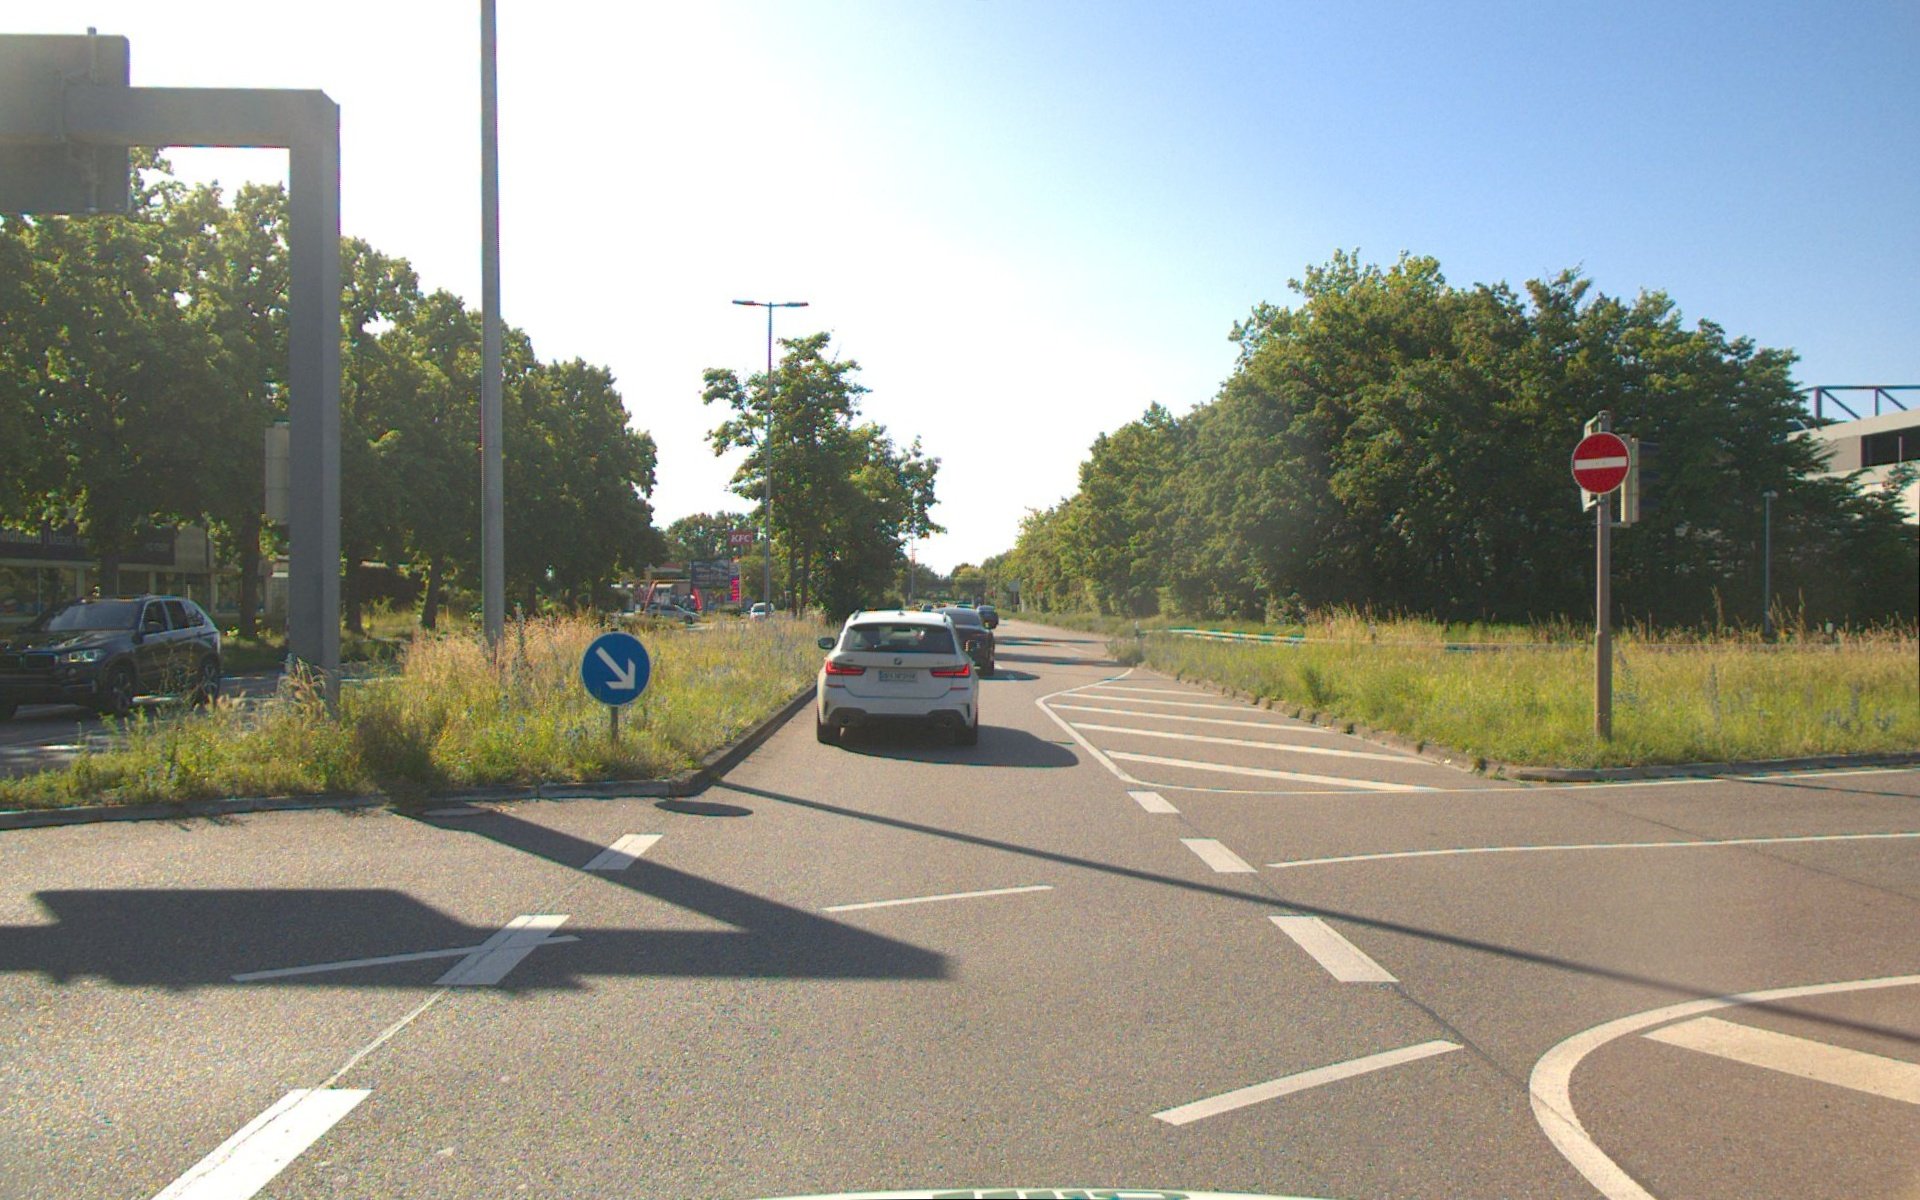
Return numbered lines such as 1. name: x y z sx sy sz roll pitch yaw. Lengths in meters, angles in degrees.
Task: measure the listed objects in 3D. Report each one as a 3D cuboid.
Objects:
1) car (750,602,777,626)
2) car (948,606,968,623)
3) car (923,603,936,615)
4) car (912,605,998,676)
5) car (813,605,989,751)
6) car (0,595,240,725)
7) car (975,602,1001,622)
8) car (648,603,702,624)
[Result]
1. car: -14.870 1.062 125.344 1.672 1.777 4.164 0 0 -2
2. car: -0.211 1.362 160.683 1.736 1.583 3.831 0 0 -3
3. car: -4.190 1.258 227.183 1.824 1.592 4.546 0 0 -2
4. car: -0.160 0.873 37.714 1.824 1.480 4.546 -1 0 -2
5. car: -0.649 0.822 19.541 1.824 1.480 4.546 1 0 -1
6. car: -12.803 0.829 24.964 1.903 1.726 4.628 -2 0 -1
7. car: 2.191 0.927 129.730 1.824 1.525 4.335 0 0 -1
8. car: -23.501 1.105 136.397 4.025 1.691 1.893 -1 0 1
